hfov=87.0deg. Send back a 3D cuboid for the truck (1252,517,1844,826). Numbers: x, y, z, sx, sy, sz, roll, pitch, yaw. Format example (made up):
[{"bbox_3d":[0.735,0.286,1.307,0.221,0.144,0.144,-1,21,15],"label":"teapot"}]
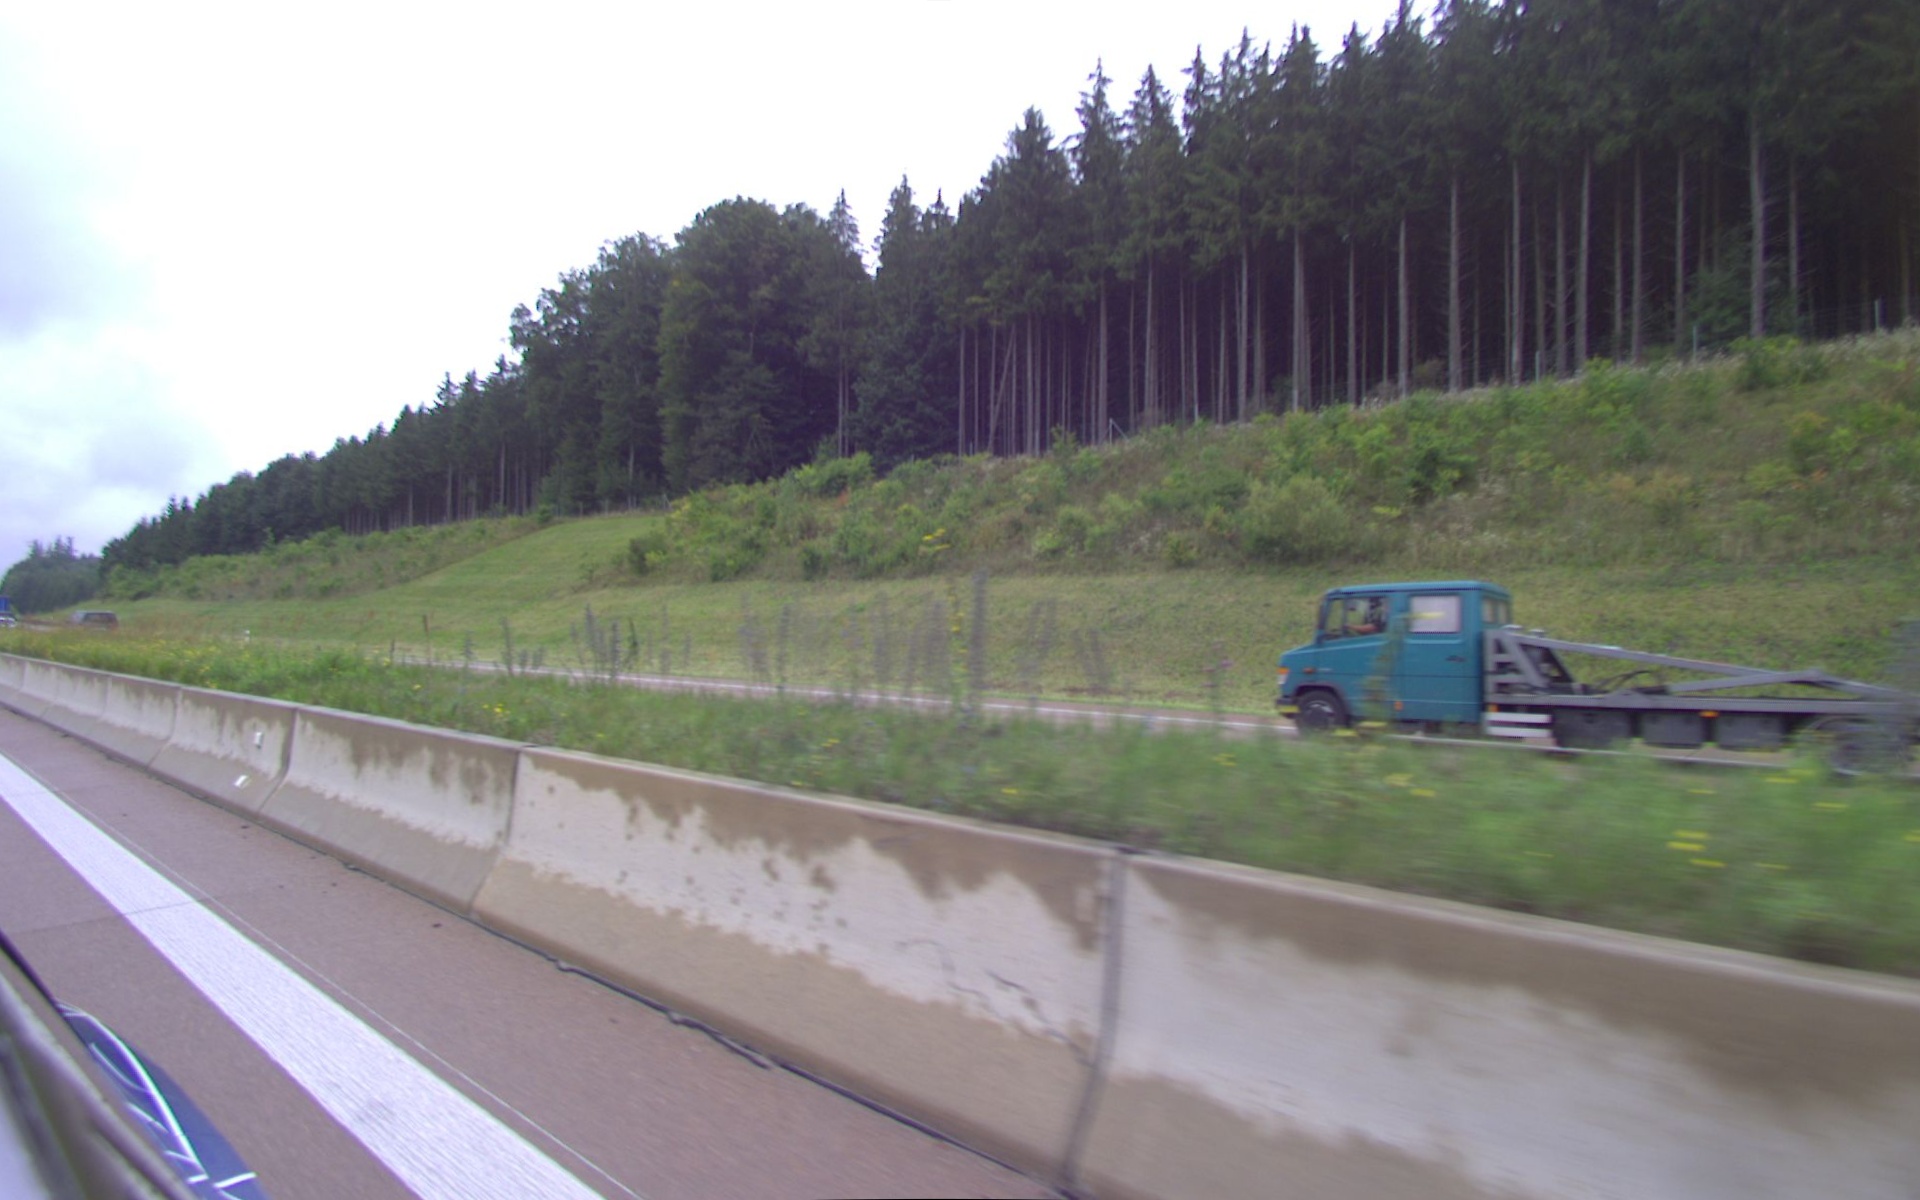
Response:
[{"bbox_3d":[7.611,0.717,13.681,6.492,3.196,2.834,0,0,41],"label":"truck"}]

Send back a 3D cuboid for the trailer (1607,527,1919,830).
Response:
[{"bbox_3d":[13.886,0.774,8.128,14.429,3.020,2.809,0,1,41],"label":"trailer"}]

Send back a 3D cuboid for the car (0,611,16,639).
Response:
[{"bbox_3d":[-60.460,1.558,63.229,3.844,1.615,1.824,0,1,41],"label":"car"}]

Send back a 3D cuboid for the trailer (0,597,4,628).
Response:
[{"bbox_3d":[-140.347,1.763,145.632,13.577,4.371,2.888,0,2,42],"label":"trailer"}]

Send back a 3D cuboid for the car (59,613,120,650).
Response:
[{"bbox_3d":[-52.703,1.890,61.243,5.068,2.073,2.017,0,-2,41],"label":"car"}]
